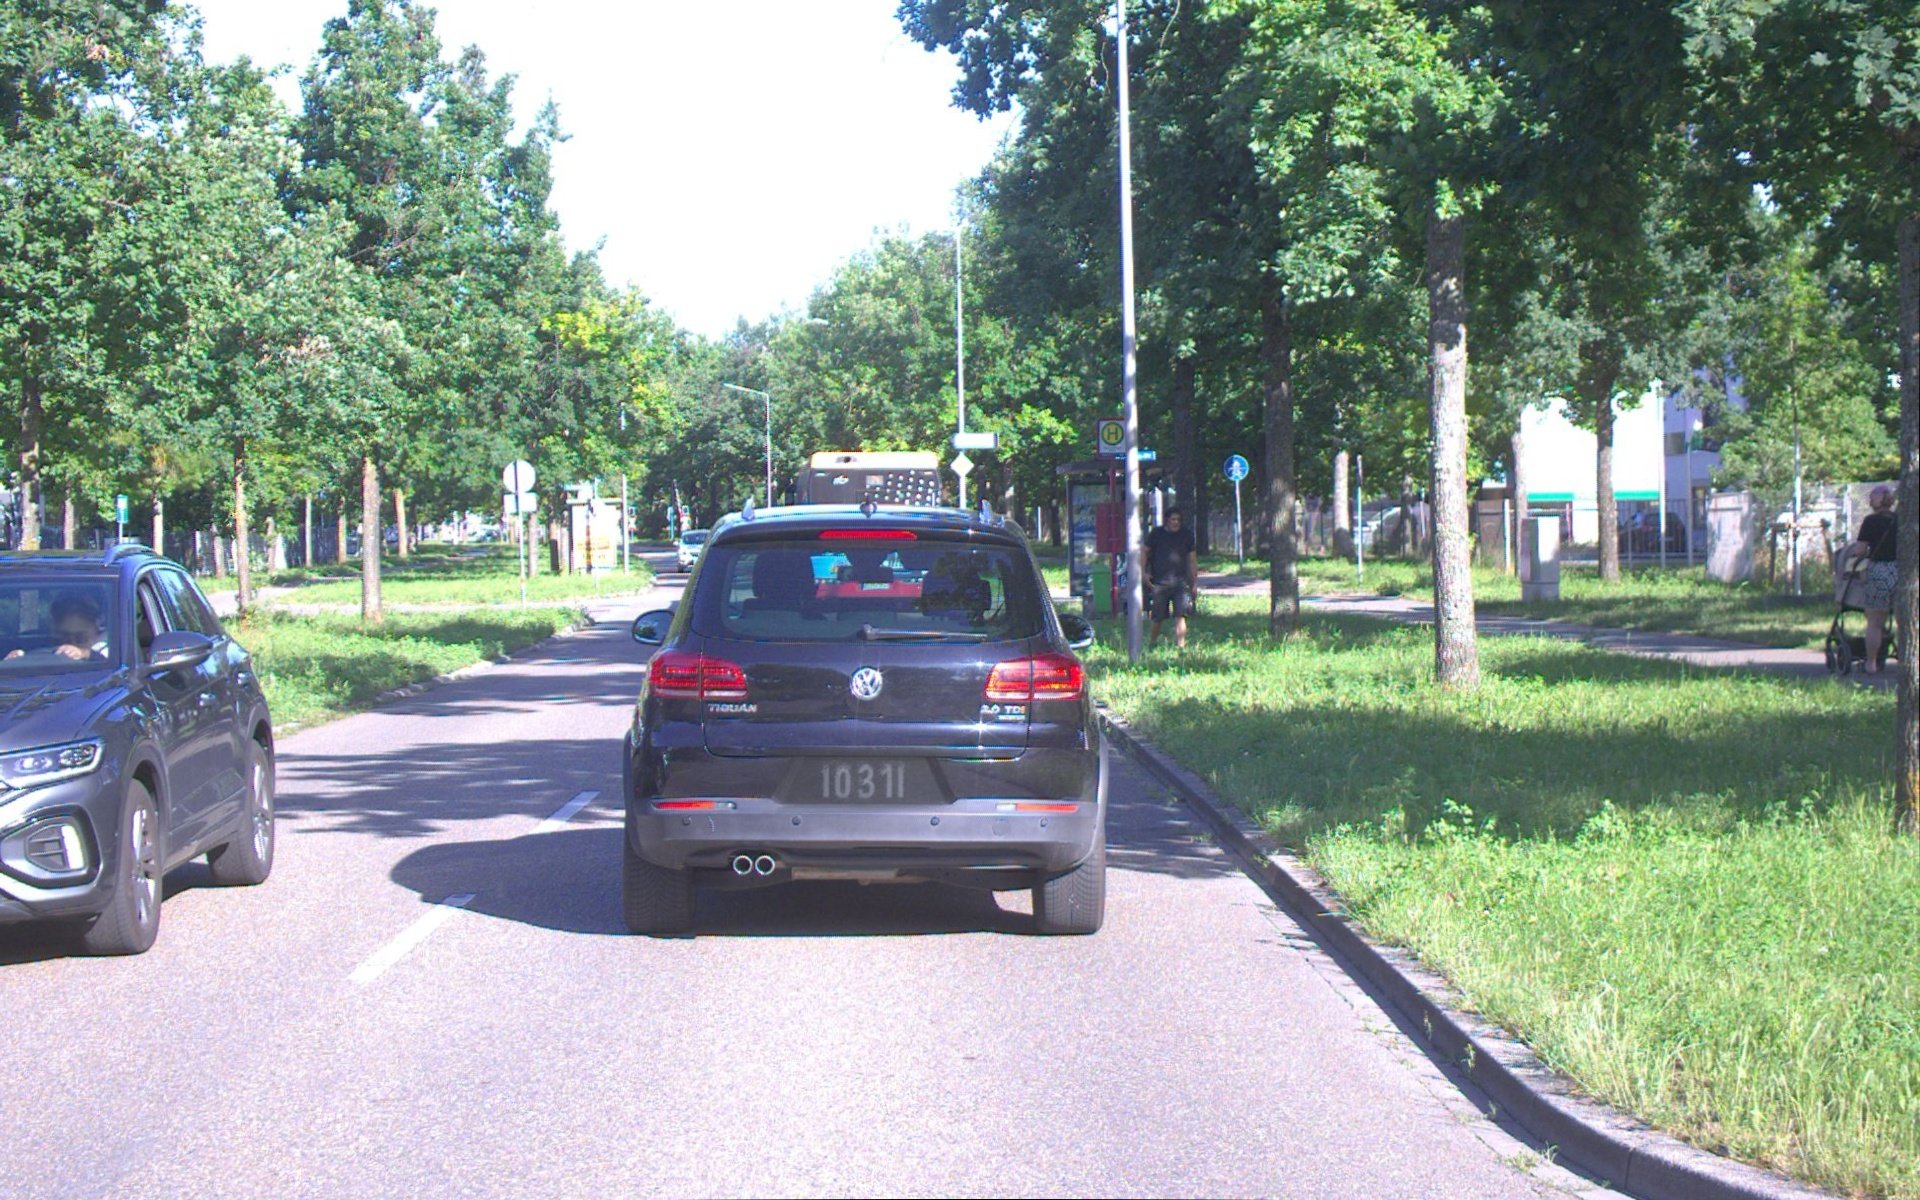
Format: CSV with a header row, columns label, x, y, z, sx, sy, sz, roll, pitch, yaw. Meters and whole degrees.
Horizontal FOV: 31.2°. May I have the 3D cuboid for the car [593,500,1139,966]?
label,x,y,z,sx,sy,sz,roll,pitch,yaw
car,-0.386,0.413,14.470,1.936,1.650,4.427,0,2,-1

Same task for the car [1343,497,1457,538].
label,x,y,z,sx,sy,sz,roll,pitch,yaw
car,19.809,-3.714,155.005,4.625,1.738,2.192,-1,1,-10

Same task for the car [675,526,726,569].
label,x,y,z,sx,sy,sz,roll,pitch,yaw
car,-9.294,-1.894,123.110,1.744,1.460,4.428,-2,2,-4

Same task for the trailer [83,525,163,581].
label,x,y,z,sx,sy,sz,roll,pitch,yaw
trailer,-30.005,-1.696,123.321,2.102,1.908,3.741,-1,2,-3

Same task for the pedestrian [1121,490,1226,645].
label,x,y,z,sx,sy,sz,roll,pitch,yaw
pedestrian,2.323,-0.358,37.504,1.019,1.646,1.100,-1,1,-1

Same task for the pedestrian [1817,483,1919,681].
label,x,y,z,sx,sy,sz,roll,pitch,yaw
pedestrian,7.579,-0.159,28.415,0.725,1.597,0.867,-1,1,-1

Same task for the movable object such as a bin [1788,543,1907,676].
label,x,y,z,sx,sy,sz,roll,pitch,yaw
movable object such as a bin,7.555,0.072,29.297,0.725,1.077,0.867,-3,1,-1

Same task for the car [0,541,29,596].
label,x,y,z,sx,sy,sz,roll,pitch,yaw
car,-28.191,-0.836,94.657,4.501,1.474,1.941,-1,1,3

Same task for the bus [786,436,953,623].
label,x,y,z,sx,sy,sz,roll,pitch,yaw
bus,-1.972,-1.459,69.776,2.764,3.444,11.213,-1,2,-4

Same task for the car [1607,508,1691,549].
label,x,y,z,sx,sy,sz,roll,pitch,yaw
car,24.040,-2.498,120.052,1.764,1.379,3.769,-1,2,-7

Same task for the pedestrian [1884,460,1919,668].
label,x,y,z,sx,sy,sz,roll,pitch,yaw
pedestrian,8.415,-0.327,29.344,0.725,1.749,0.867,-3,1,-1

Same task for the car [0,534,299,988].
label,x,y,z,sx,sy,sz,roll,pitch,yaw
car,-4.000,0.551,14.219,1.804,1.531,4.496,-3,2,-3

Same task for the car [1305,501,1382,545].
label,x,y,z,sx,sy,sz,roll,pitch,yaw
car,15.721,-3.164,141.157,2.184,1.738,4.643,-1,2,-6
